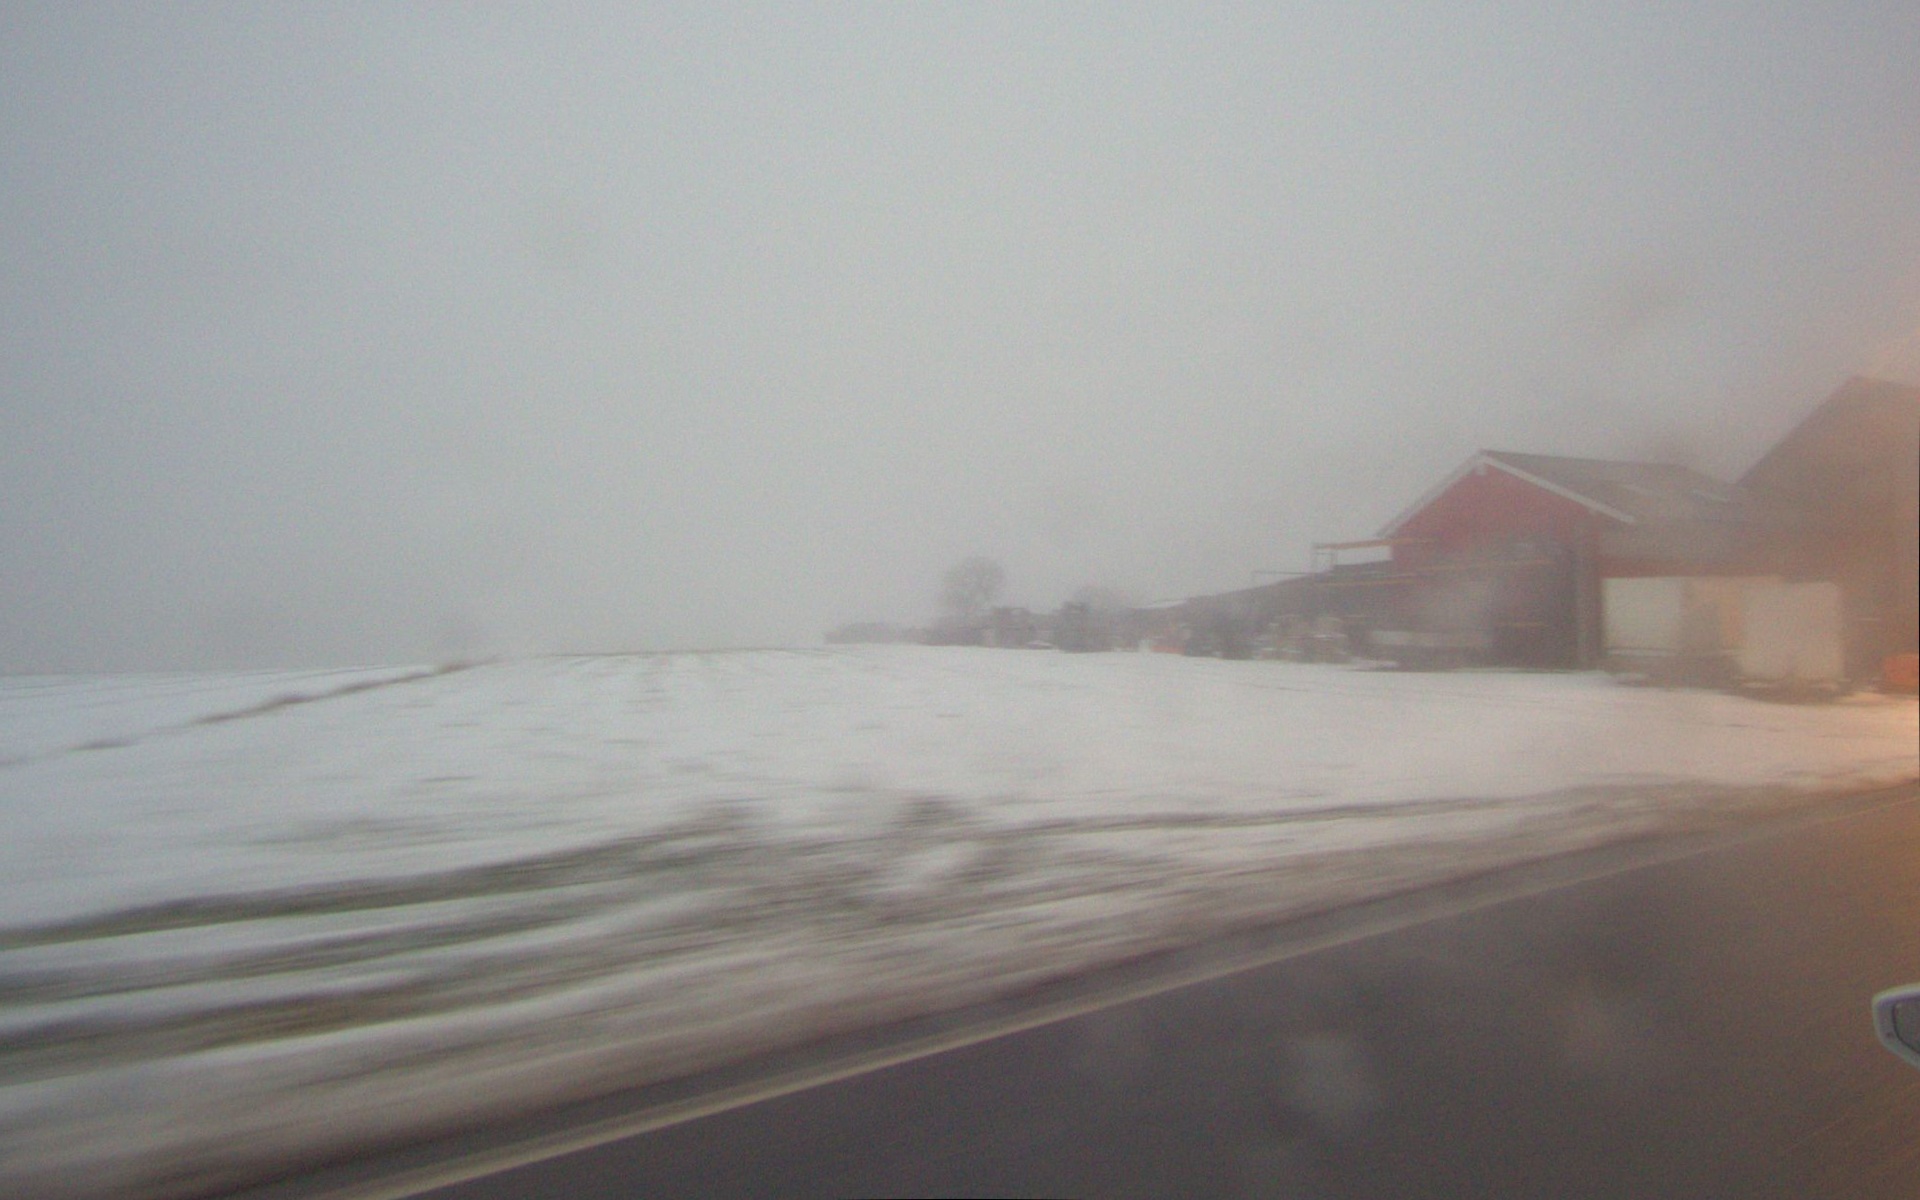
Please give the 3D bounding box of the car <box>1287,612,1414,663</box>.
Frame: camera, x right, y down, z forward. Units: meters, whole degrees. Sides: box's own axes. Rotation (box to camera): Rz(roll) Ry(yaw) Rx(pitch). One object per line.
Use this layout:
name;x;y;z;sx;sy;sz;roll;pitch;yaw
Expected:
car;13.786;1.314;35.488;3.945;1.684;1.988;0;-2;-25

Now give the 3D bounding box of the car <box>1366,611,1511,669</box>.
car;15.236;1.264;32.040;3.939;1.739;1.991;0;-2;-20

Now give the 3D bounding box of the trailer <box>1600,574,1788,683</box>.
trailer;18.247;0.708;25.003;3.952;2.522;1.990;0;-2;-23

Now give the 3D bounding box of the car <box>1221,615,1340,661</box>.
car;12.111;1.421;37.969;3.944;1.684;1.989;0;-2;-24

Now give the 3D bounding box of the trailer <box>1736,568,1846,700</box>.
trailer;18.124;0.748;21.941;1.670;2.639;3.429;-2;-3;40

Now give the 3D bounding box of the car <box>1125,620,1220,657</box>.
car;9.890;1.781;46.768;3.943;1.684;1.990;0;-2;-23
